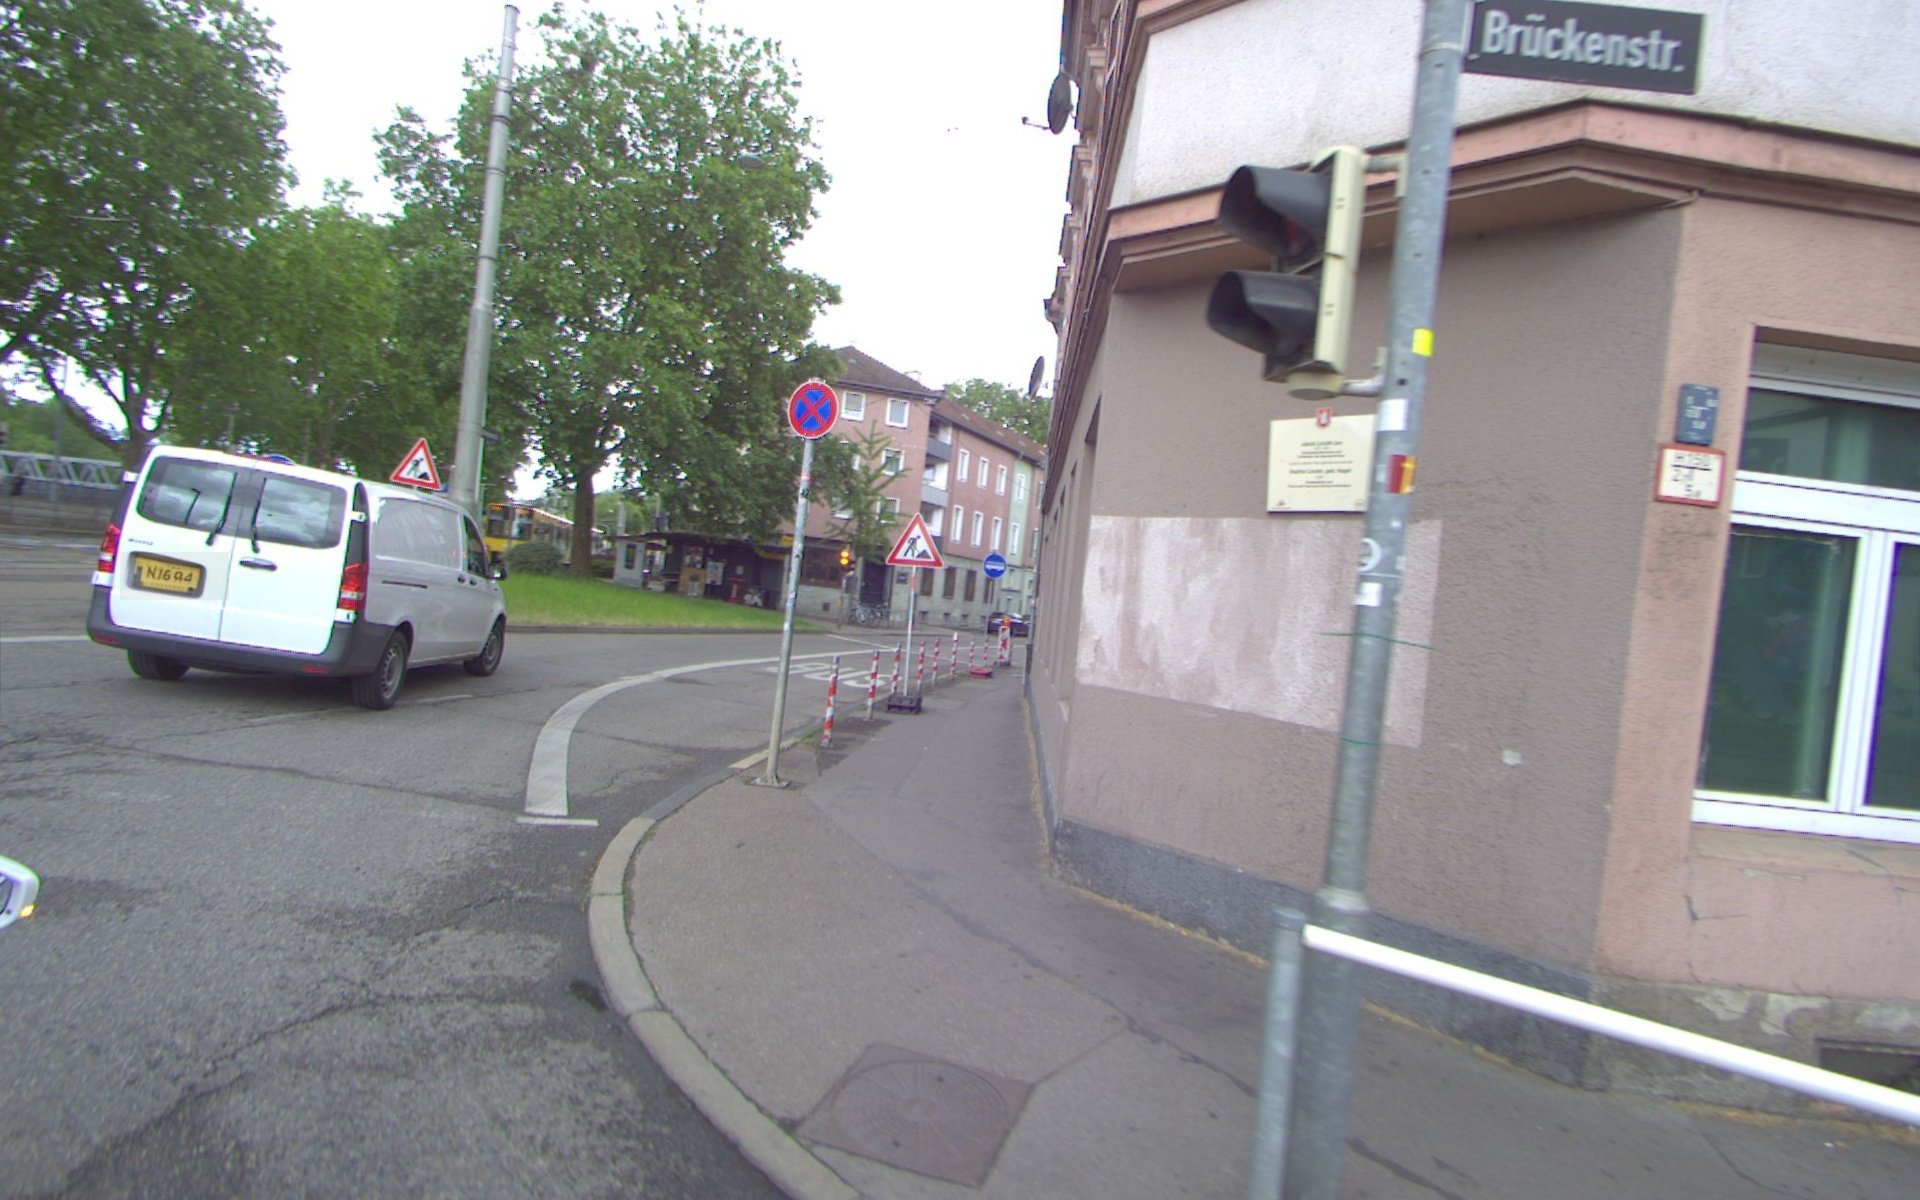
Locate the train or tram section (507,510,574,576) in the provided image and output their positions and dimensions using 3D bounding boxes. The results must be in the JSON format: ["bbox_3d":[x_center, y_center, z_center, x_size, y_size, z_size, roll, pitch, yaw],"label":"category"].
[{"bbox_3d":[-26.501,-3.504,63.861,2.546,3.492,7.737,6,-1,-14],"label":"train or tram section"}]

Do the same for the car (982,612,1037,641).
[{"bbox_3d":[3.087,1.666,62.477,1.964,1.415,3.998,5,-1,25],"label":"car"}]

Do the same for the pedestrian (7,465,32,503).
[{"bbox_3d":[-38.931,-4.792,41.654,0.466,1.469,0.509,5,0,-17],"label":"pedestrian"}]

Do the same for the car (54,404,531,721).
[{"bbox_3d":[-5.780,-0.240,9.604,1.925,2.037,4.690,8,-1,-11],"label":"car"}]

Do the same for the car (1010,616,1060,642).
[{"bbox_3d":[5.078,1.958,67.322,1.964,1.415,3.998,5,-1,25],"label":"car"}]

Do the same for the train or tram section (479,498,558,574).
[{"bbox_3d":[-24.572,-3.435,56.326,2.546,3.492,7.737,6,-1,-14],"label":"train or tram section"}]

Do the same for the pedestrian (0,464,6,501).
[{"bbox_3d":[-39.814,-4.885,41.450,0.466,1.469,0.509,5,0,-17],"label":"pedestrian"}]

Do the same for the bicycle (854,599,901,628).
[{"bbox_3d":[-3.701,0.623,45.217,1.967,1.048,0.562,8,0,-2],"label":"bicycle"}]

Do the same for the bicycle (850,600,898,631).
[{"bbox_3d":[-3.747,0.681,43.972,1.967,1.048,0.562,8,0,-2],"label":"bicycle"}]
